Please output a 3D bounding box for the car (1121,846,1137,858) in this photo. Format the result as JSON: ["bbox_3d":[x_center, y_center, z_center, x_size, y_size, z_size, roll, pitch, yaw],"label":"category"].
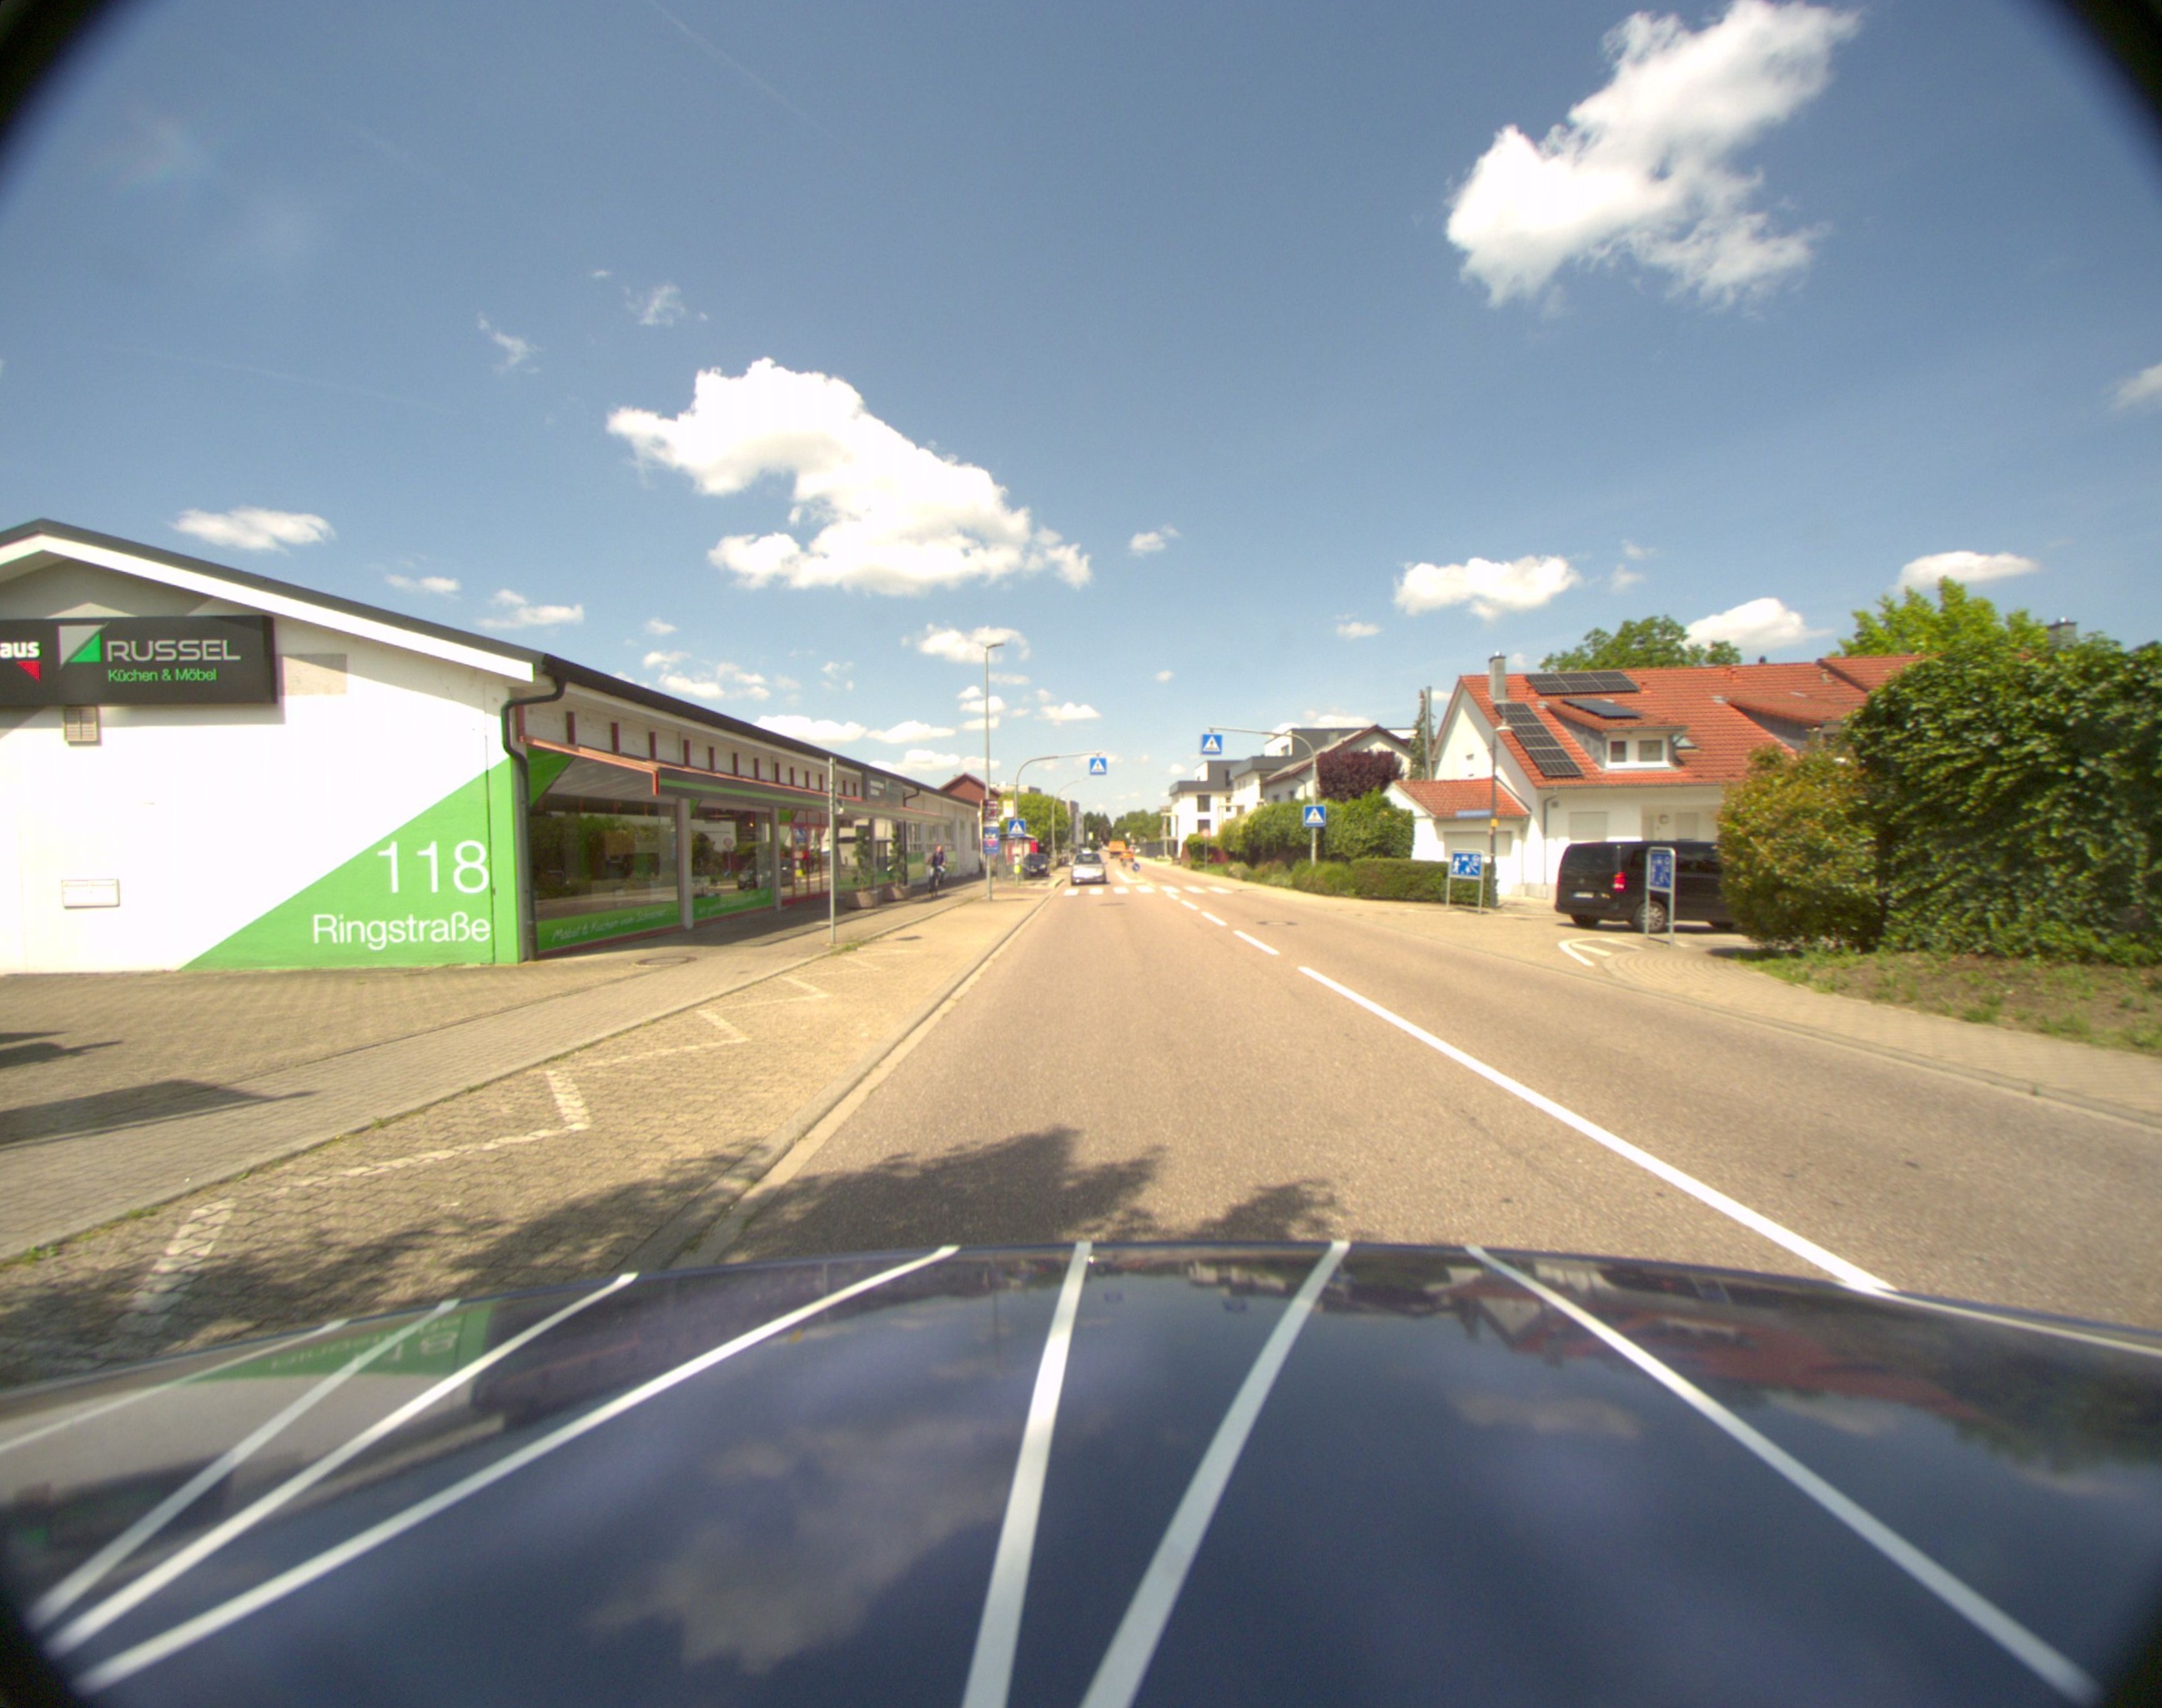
[{"bbox_3d":[6.160,-0.274,97.715,1.799,1.480,3.613,1,1,0],"label":"car"}]

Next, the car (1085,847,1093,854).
[{"bbox_3d":[1.688,-0.750,158.332,1.729,1.484,3.760,0,1,2],"label":"car"}]

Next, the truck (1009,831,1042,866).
[{"bbox_3d":[-4.653,-0.476,63.219,2.580,2.746,6.331,0,1,-5],"label":"truck"}]

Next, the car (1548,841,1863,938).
[{"bbox_3d":[12.722,0.676,15.680,5.068,1.842,1.999,0,1,-6],"label":"car"}]

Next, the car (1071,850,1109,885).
[{"bbox_3d":[0.436,0.624,38.207,1.723,1.590,3.759,-3,1,1],"label":"car"}]

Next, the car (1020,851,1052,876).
[{"bbox_3d":[-2.795,0.549,47.922,1.729,1.484,3.759,0,1,0],"label":"car"}]

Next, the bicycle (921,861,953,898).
[{"bbox_3d":[-4.887,0.831,25.911,0.805,1.158,1.942,-1,1,-3],"label":"bicycle"}]

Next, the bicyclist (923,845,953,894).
[{"bbox_3d":[-4.835,0.499,25.728,0.805,1.620,1.111,-1,1,-3],"label":"bicyclist"}]

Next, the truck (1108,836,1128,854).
[{"bbox_3d":[5.772,-1.381,119.549,2.864,2.695,6.790,1,1,0],"label":"truck"}]
